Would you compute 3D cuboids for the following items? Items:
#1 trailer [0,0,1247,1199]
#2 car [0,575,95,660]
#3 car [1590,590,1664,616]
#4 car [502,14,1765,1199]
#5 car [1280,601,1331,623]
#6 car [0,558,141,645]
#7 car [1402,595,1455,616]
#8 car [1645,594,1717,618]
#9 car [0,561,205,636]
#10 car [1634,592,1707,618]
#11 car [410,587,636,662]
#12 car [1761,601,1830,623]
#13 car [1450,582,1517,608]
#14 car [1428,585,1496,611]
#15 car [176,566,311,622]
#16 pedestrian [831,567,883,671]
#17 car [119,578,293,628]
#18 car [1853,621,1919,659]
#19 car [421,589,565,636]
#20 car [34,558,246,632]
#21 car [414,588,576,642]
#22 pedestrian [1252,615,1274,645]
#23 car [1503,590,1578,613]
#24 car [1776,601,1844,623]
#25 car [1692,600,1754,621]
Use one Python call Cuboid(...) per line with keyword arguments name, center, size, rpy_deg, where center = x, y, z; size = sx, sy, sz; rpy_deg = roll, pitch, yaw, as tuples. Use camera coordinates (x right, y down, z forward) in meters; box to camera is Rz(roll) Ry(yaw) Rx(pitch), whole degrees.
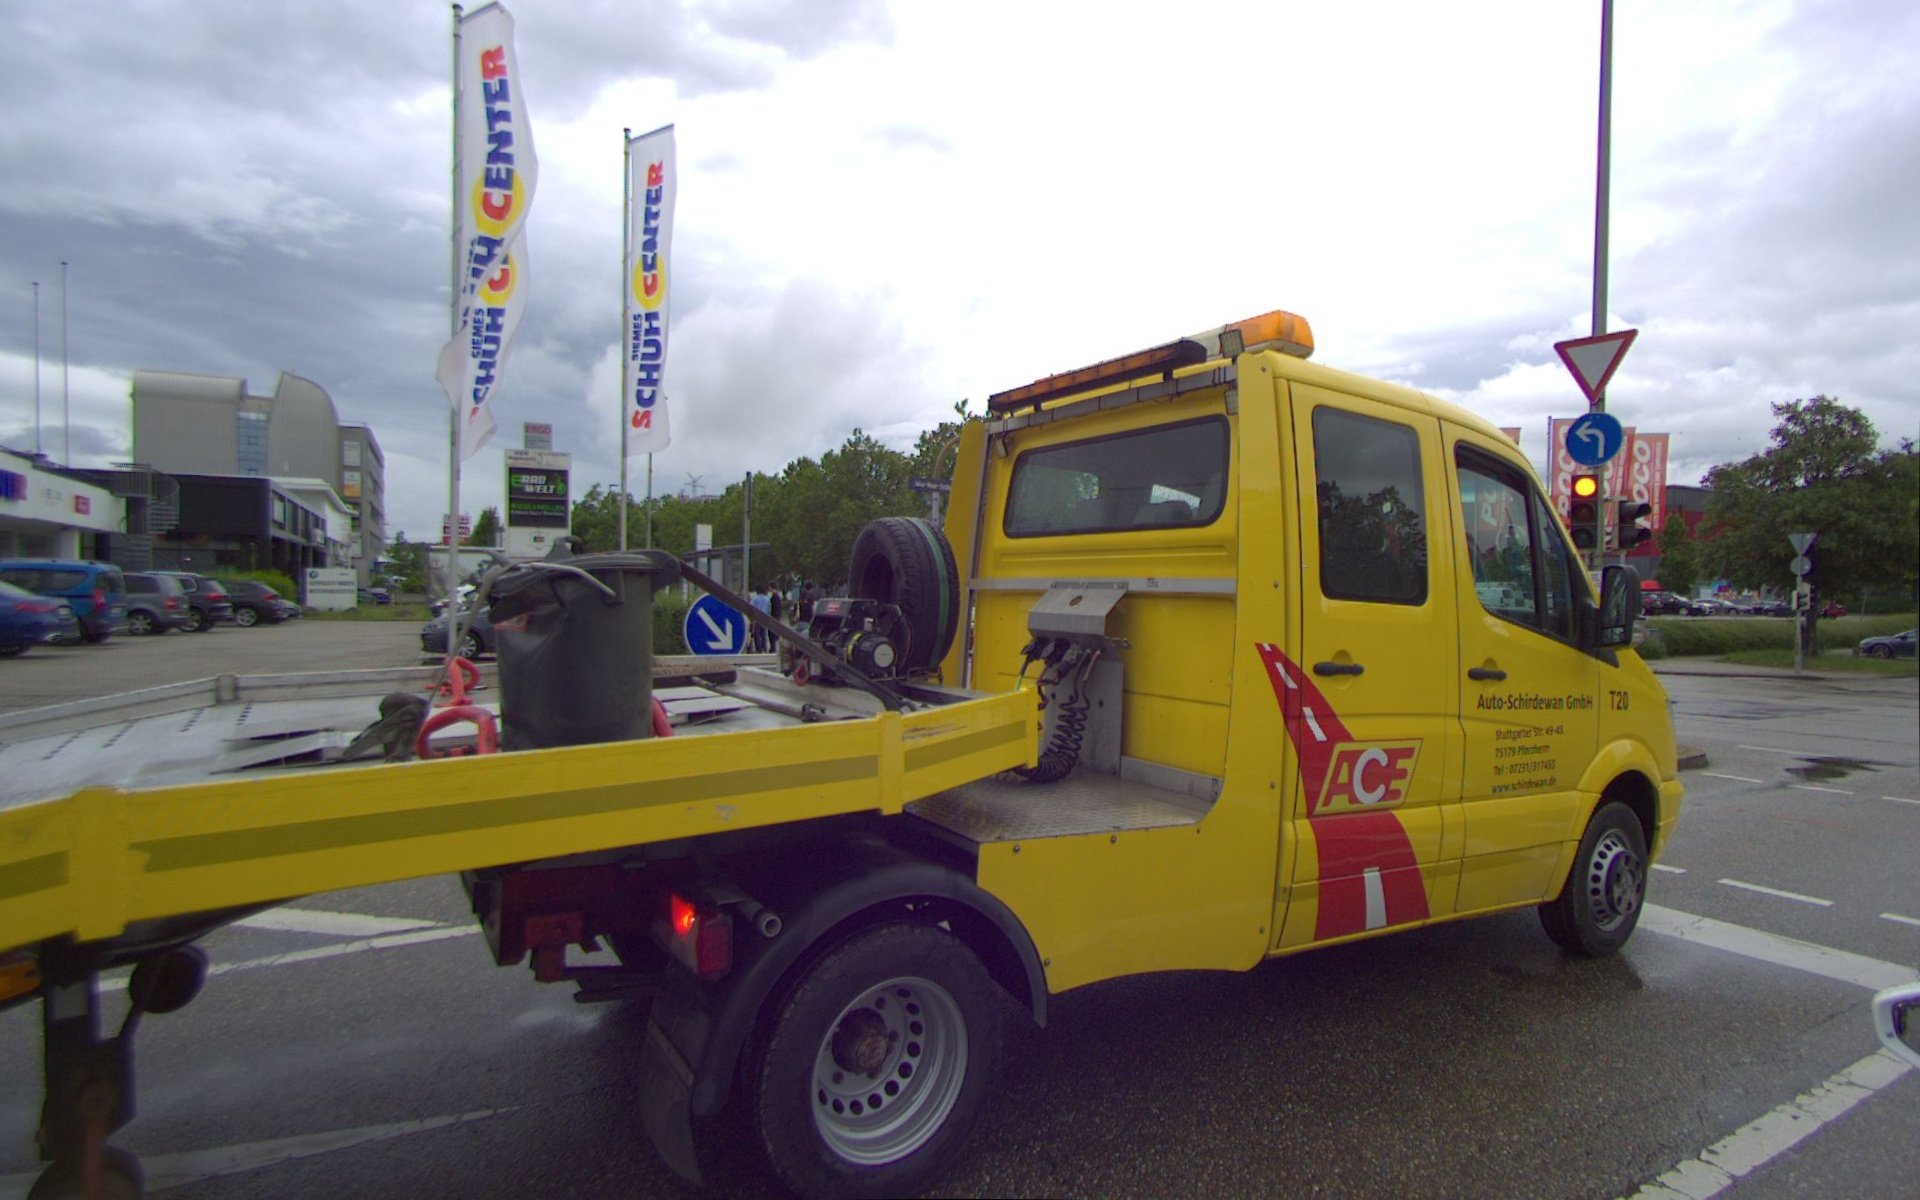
Cuboid(name="trailer", center=(-3.176, 0.095, 1.566), size=(7.884, 2.506, 2.291), rpy_deg=(3, -1, -32))
Cuboid(name="car", center=(-17.697, 0.257, 16.971), size=(4.319, 1.412, 1.811), rpy_deg=(2, -1, -27))
Cuboid(name="car", center=(44.498, 0.204, 67.112), size=(1.652, 1.667, 3.799), rpy_deg=(2, -1, -28))
Cuboid(name="car", center=(0.975, 0.227, 4.189), size=(4.960, 2.506, 2.227), rpy_deg=(3, -1, -32))
Cuboid(name="car", center=(28.319, 0.971, 82.446), size=(1.652, 1.667, 3.934), rpy_deg=(2, -1, -28))
Cuboid(name="car", center=(-20.502, 0.016, 21.446), size=(4.319, 1.787, 1.884), rpy_deg=(2, -1, -27))
Cuboid(name="car", center=(40.043, 0.451, 85.924), size=(1.652, 1.667, 3.934), rpy_deg=(2, -1, -28))
Cuboid(name="car", center=(51.000, 0.421, 71.098), size=(1.652, 1.667, 3.799), rpy_deg=(2, -1, -28))
Cuboid(name="car", center=(-22.514, -0.023, 26.098), size=(4.319, 1.787, 1.884), rpy_deg=(2, -1, -27))
Cuboid(name="car", center=(48.944, 0.349, 69.270), size=(1.652, 1.667, 3.799), rpy_deg=(2, -1, -28))
Cuboid(name="car", center=(-8.882, 0.516, 20.665), size=(4.069, 1.412, 1.813), rpy_deg=(2, -1, -24))
Cuboid(name="car", center=(65.471, 0.897, 78.738), size=(1.652, 1.667, 3.799), rpy_deg=(2, -1, -28))
Cuboid(name="car", center=(35.671, -0.323, 68.551), size=(1.612, 1.667, 3.799), rpy_deg=(2, -1, -28))
Cuboid(name="car", center=(33.317, -0.136, 66.717), size=(1.652, 1.667, 3.799), rpy_deg=(2, -1, -28))
Cuboid(name="car", center=(-28.192, -0.199, 39.687), size=(3.944, 2.040, 1.900), rpy_deg=(2, -1, -24))
Cuboid(name="pedestrian", center=(-2.087, 0.387, 20.367), size=(0.683, 2.040, 0.816), rpy_deg=(2, -1, 20))
Cuboid(name="car", center=(-24.968, 0.111, 33.482), size=(4.319, 1.518, 1.884), rpy_deg=(2, -1, -27))
Cuboid(name="car", center=(41.220, 1.751, 43.445), size=(1.669, 1.573, 3.624), rpy_deg=(2, -1, -36))
Cuboid(name="car", center=(-15.034, 0.414, 32.409), size=(4.074, 1.412, 1.811), rpy_deg=(2, -1, -27))
Cuboid(name="car", center=(-23.213, -0.104, 28.672), size=(4.319, 1.931, 1.884), rpy_deg=(2, -1, -27))
Cuboid(name="car", center=(-13.339, 0.447, 28.938), size=(4.074, 1.412, 1.886), rpy_deg=(2, -1, -27))
Cuboid(name="pedestrian", center=(14.908, 1.467, 49.419), size=(0.773, 1.450, 0.635), rpy_deg=(2, -1, -33))
Cuboid(name="car", center=(37.589, 0.075, 65.124), size=(1.652, 1.399, 3.881), rpy_deg=(2, -1, -28))
Cuboid(name="car", center=(67.815, 0.975, 80.186), size=(1.652, 1.667, 3.799), rpy_deg=(2, -1, -28))
Cuboid(name="car", center=(63.250, 0.848, 83.299), size=(1.652, 1.667, 3.799), rpy_deg=(2, -1, -28))
